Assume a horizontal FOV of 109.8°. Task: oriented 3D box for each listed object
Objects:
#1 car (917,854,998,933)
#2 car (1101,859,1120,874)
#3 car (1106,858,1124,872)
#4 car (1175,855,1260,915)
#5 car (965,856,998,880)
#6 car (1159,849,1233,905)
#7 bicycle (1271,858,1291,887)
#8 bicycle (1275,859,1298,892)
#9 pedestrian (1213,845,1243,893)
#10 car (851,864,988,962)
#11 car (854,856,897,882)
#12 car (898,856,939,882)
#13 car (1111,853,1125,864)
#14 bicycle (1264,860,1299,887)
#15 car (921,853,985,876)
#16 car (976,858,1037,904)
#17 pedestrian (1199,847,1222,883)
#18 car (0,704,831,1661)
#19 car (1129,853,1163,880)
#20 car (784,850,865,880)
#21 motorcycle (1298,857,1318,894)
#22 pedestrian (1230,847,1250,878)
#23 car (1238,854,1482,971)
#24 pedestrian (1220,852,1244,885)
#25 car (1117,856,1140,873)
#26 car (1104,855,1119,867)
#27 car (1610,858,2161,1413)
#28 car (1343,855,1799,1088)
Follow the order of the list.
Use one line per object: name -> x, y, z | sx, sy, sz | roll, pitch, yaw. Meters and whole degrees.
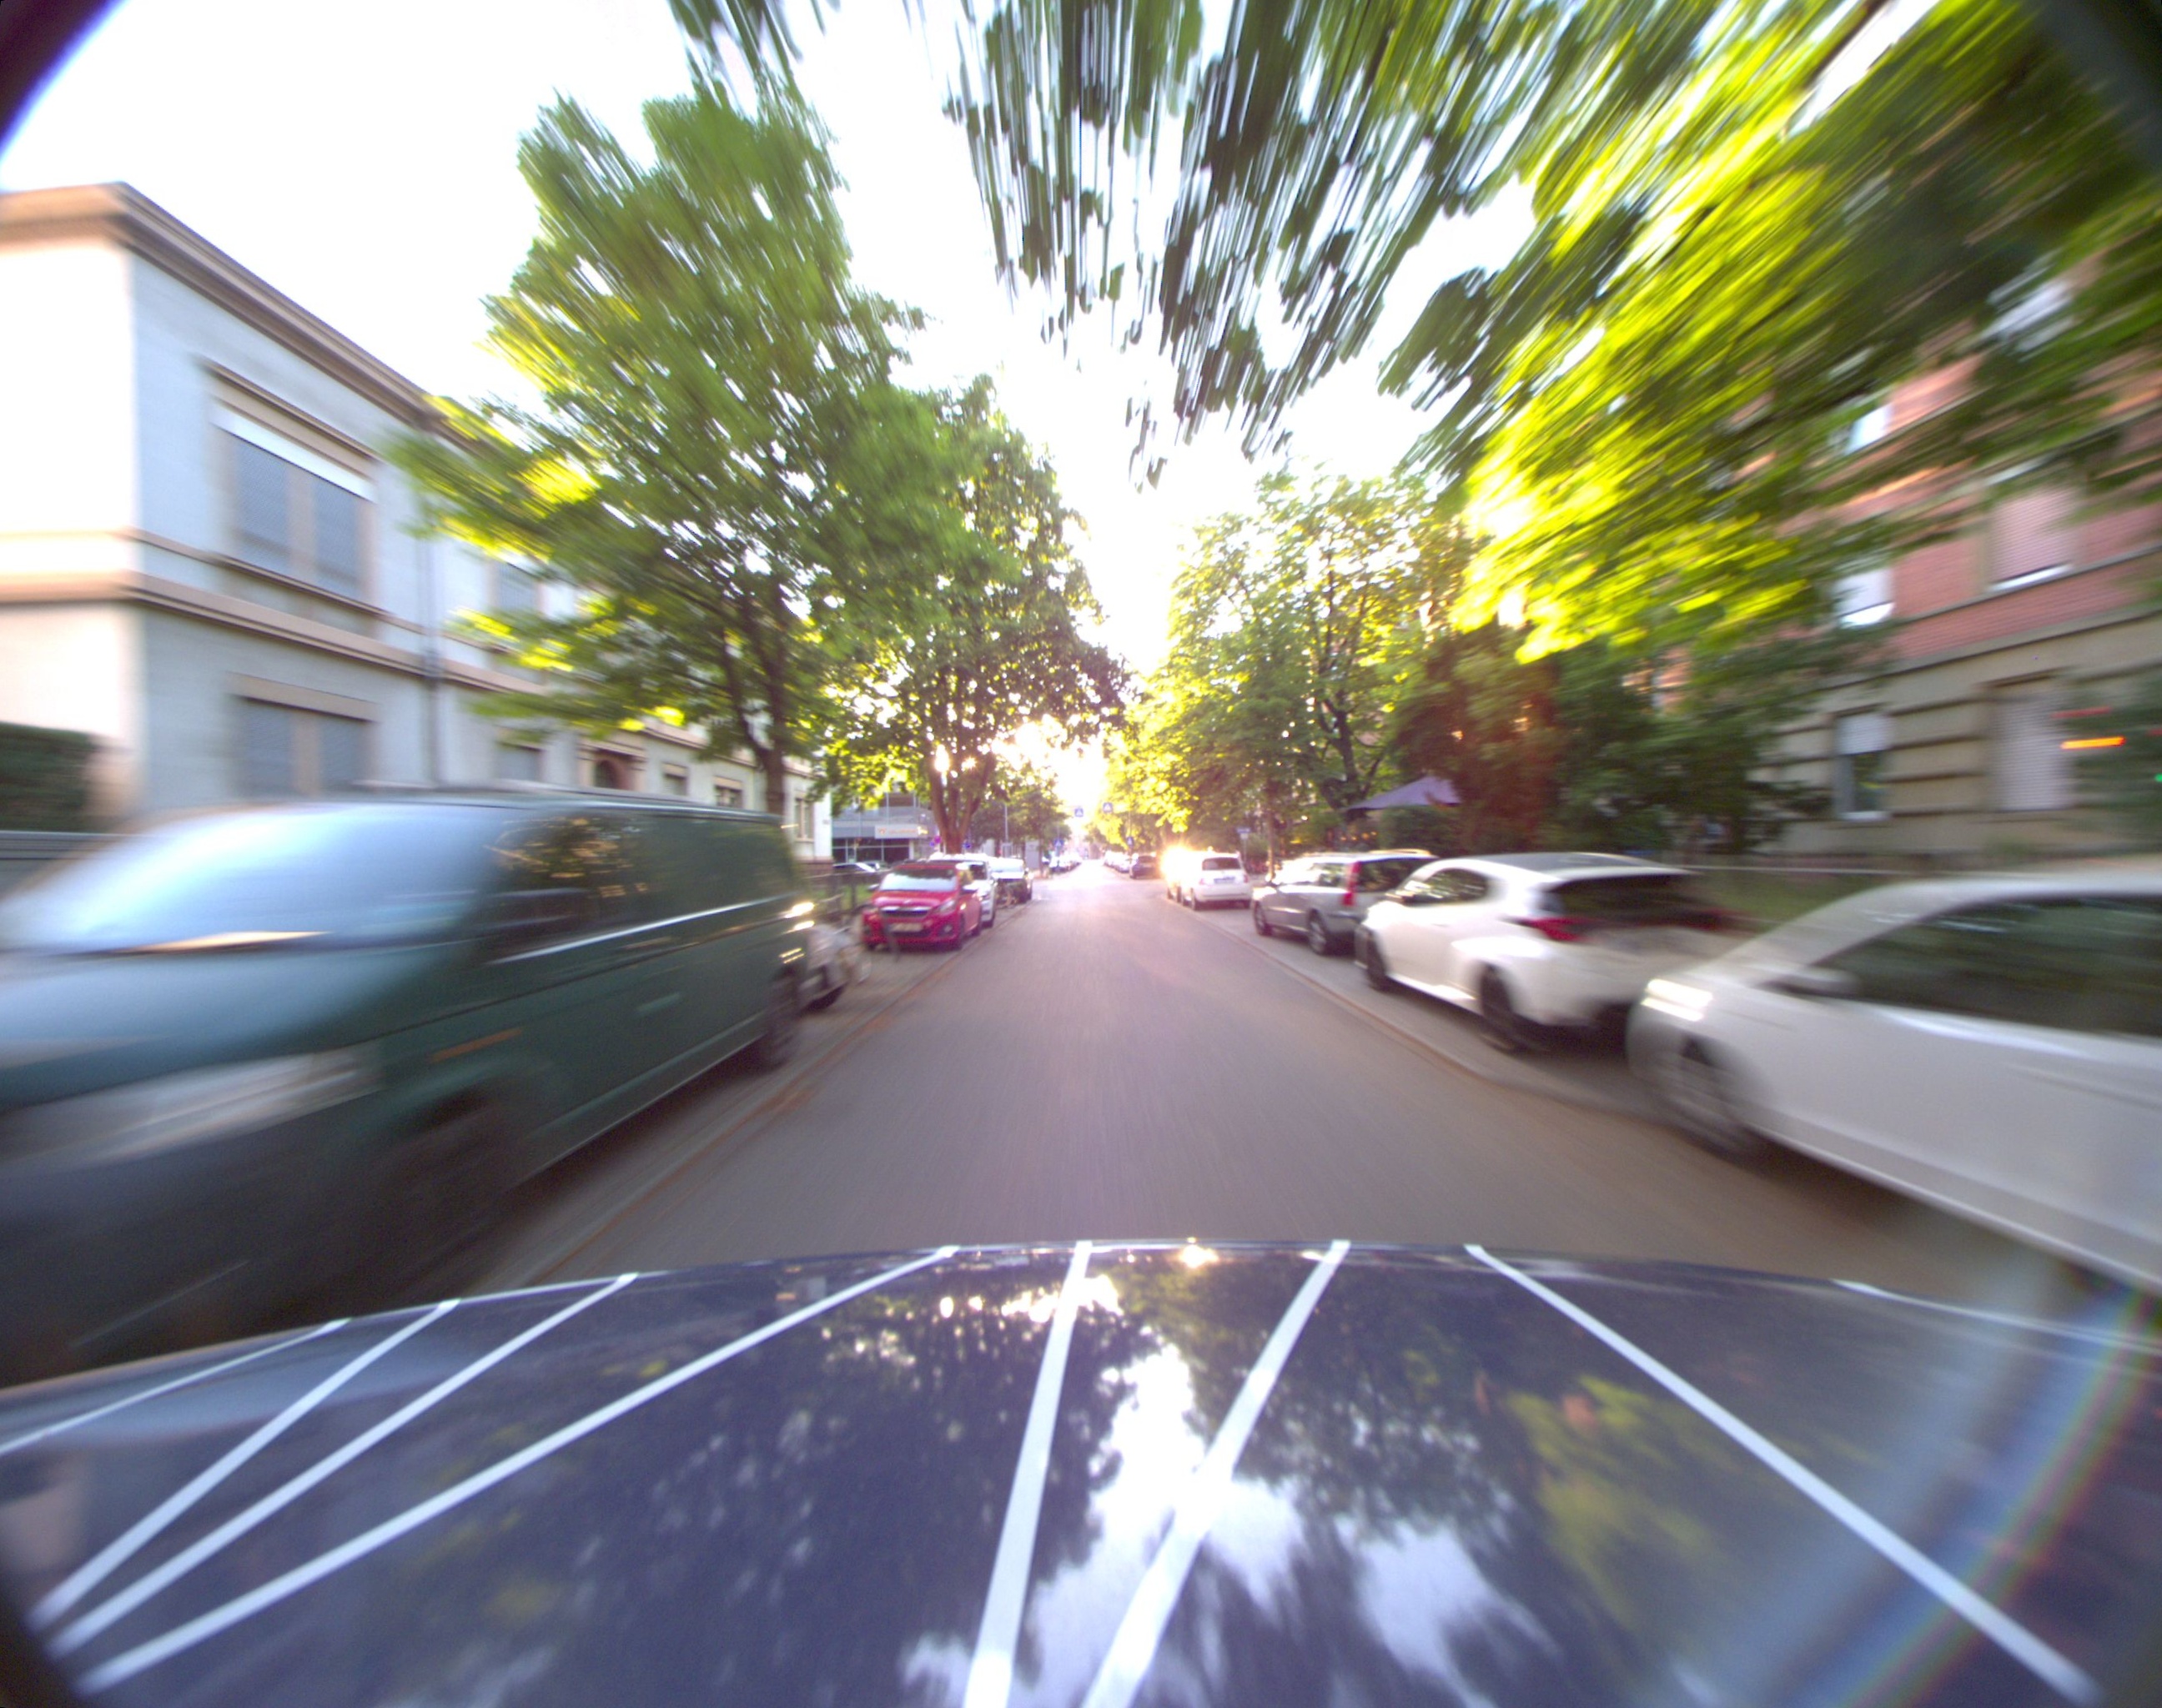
car -> -2.840, 0.862, 18.190 | 1.669, 1.668, 4.117 | 1, -1, -6
car -> 3.010, 1.241, 77.742 | 1.617, 1.433, 4.310 | -3, 0, -1
car -> 3.773, 1.206, 83.955 | 1.617, 1.433, 4.310 | -3, 0, -1
car -> 3.797, 0.826, 21.769 | 1.668, 1.484, 3.710 | -4, 0, 0
car -> -6.928, 0.950, 53.468 | 1.767, 1.562, 3.902 | -1, 0, 0
car -> 3.847, 0.741, 26.016 | 1.669, 1.667, 3.846 | -4, 0, -3
bicycle -> 8.353, 0.751, 31.791 | 0.392, 1.137, 1.746 | -7, -1, 4
bicycle -> 7.777, 0.794, 28.780 | 0.392, 1.179, 1.957 | -4, 0, 4
pedestrian -> 6.304, 0.629, 32.614 | 0.869, 2.002, 1.008 | -1, 1, -19
car -> -2.731, 0.948, 13.668 | 1.668, 1.491, 3.694 | 1, -1, 0
car -> -14.362, 1.044, 53.239 | 1.704, 1.583, 3.694 | -2, 2, 5
car -> -11.349, 1.002, 53.216 | 1.716, 1.596, 4.127 | -2, 1, 3
car -> 4.955, 0.619, 102.666 | 1.617, 1.433, 4.104 | -3, 0, -1
bicycle -> 8.528, 0.832, 32.315 | 1.832, 1.091, 0.391 | 0, -1, -38
car -> -9.920, 0.826, 59.103 | 4.588, 1.634, 1.872 | -2, 0, 0
car -> -2.679, 0.953, 28.022 | 1.735, 1.547, 3.963 | 1, -1, 2
pedestrian -> 6.714, 0.560, 39.328 | 0.688, 1.824, 1.007 | -1, 1, -25
car -> -3.155, 0.713, 4.048 | 1.959, 2.046, 4.831 | 1, -1, 1
car -> 4.348, 0.831, 51.682 | 1.871, 1.677, 4.592 | -2, 0, 0
car -> -14.415, 0.604, 42.763 | 3.939, 1.536, 1.633 | -1, 1, 4
motorcycle -> 7.875, 0.730, 26.425 | 0.392, 1.179, 1.958 | -3, 0, 11
pedestrian -> 9.852, 0.530, 47.068 | 0.925, 1.814, 0.779 | -3, 4, -10
car -> 4.151, 0.791, 12.267 | 1.845, 1.403, 4.599 | -4, 0, -5
pedestrian -> 7.608, 0.712, 38.328 | 0.688, 1.621, 1.051 | -1, 0, -25
car -> 4.341, 0.936, 69.745 | 1.617, 1.433, 3.754 | -4, 0, -2
car -> 3.940, 0.866, 98.323 | 1.617, 1.433, 4.104 | -3, 0, -1
car -> 3.810, 0.804, 2.485 | 1.555, 1.477, 3.694 | -4, 0, 1
car -> 3.896, 0.789, 6.947 | 1.607, 1.427, 3.885 | -4, 0, 0
